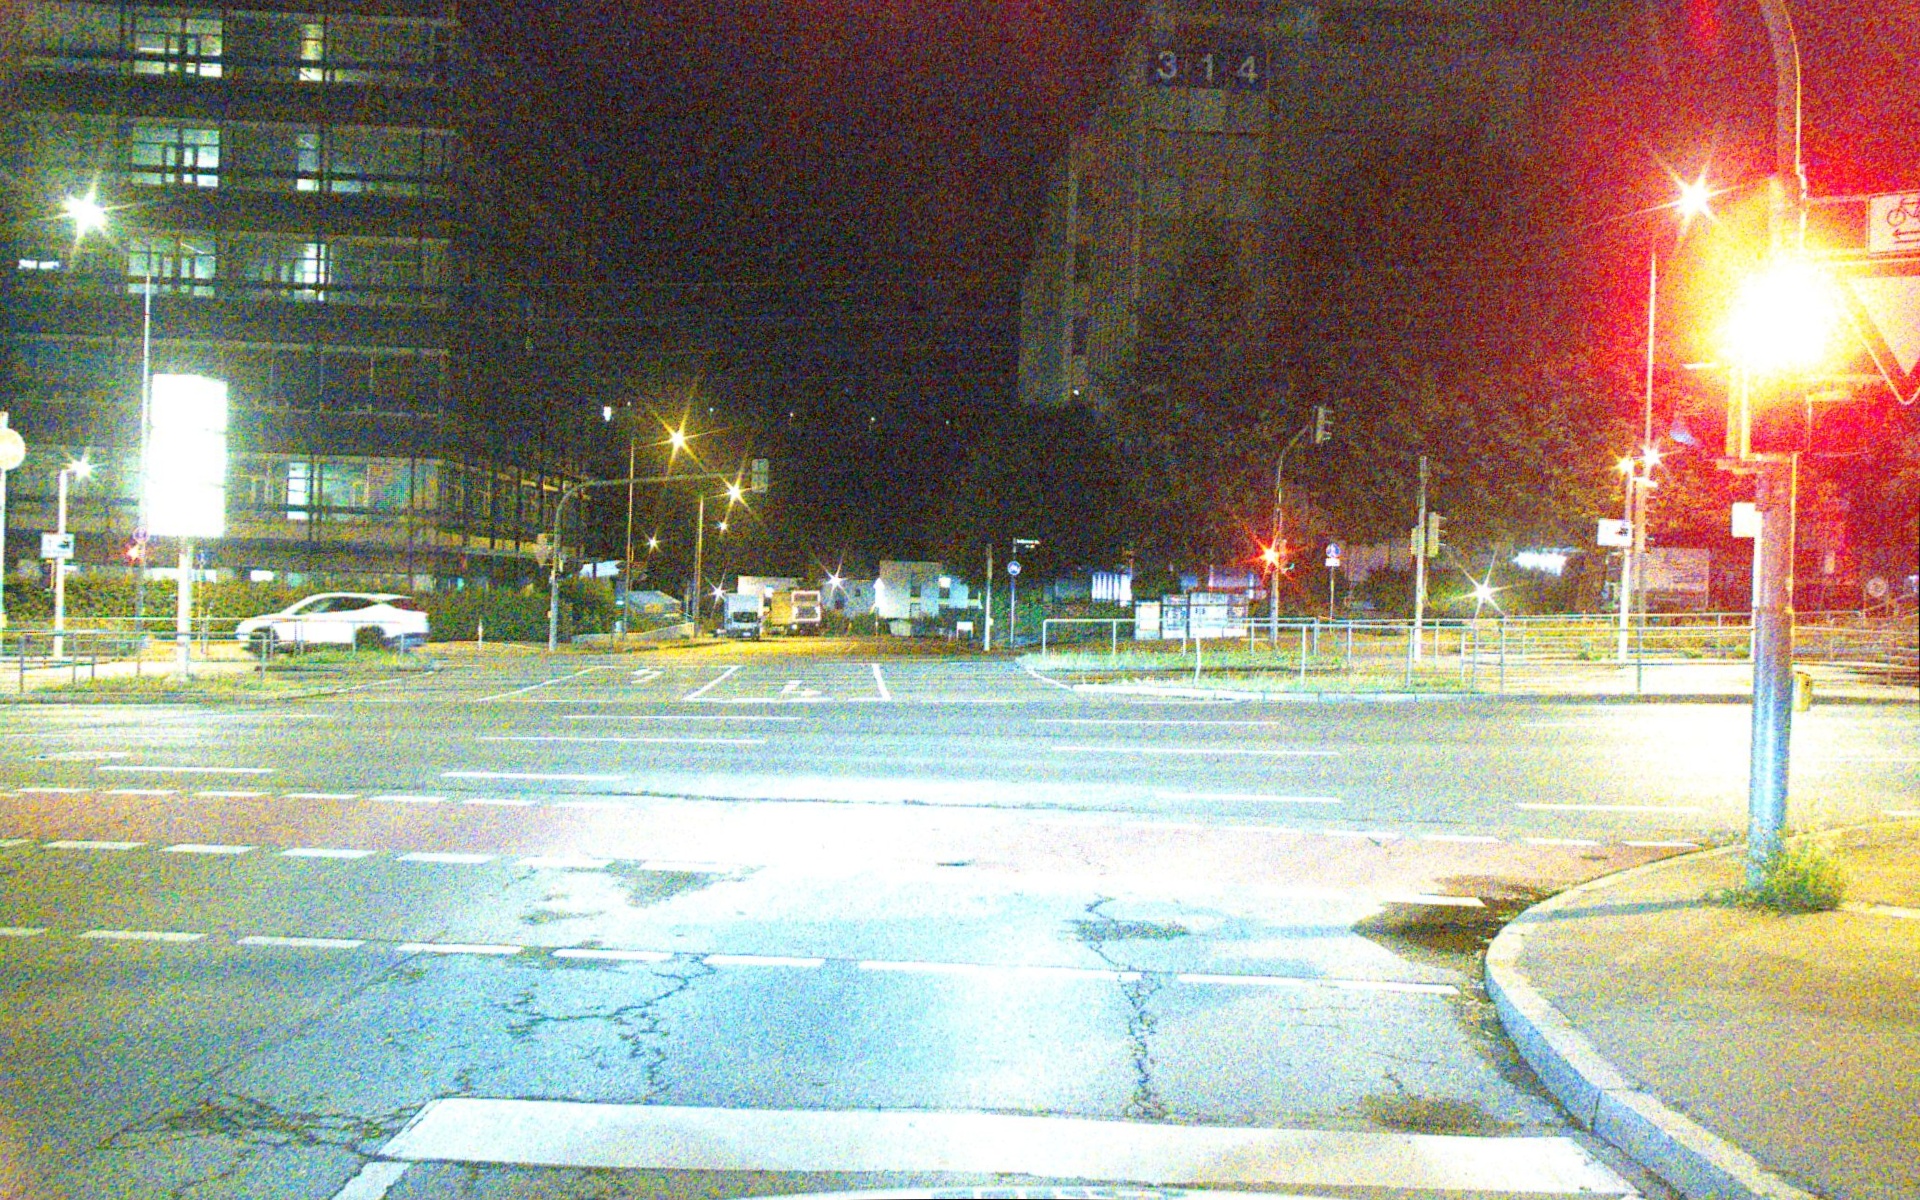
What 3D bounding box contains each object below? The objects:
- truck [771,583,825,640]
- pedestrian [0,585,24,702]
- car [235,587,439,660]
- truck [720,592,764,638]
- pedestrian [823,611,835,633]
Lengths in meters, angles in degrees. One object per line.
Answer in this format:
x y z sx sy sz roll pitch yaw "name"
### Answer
-14.627 1.025 148.605 3.307 4.927 7.868 2 -1 -17 "truck"
-14.720 0.649 24.994 0.664 1.752 0.705 1 -1 26 "pedestrian"
-15.525 0.589 41.355 4.306 1.672 1.942 1 -1 2 "car"
-15.657 1.115 118.743 2.377 3.143 6.414 2 -1 -14 "truck"
-11.686 1.955 147.221 0.836 1.945 1.001 2 -1 -18 "pedestrian"
